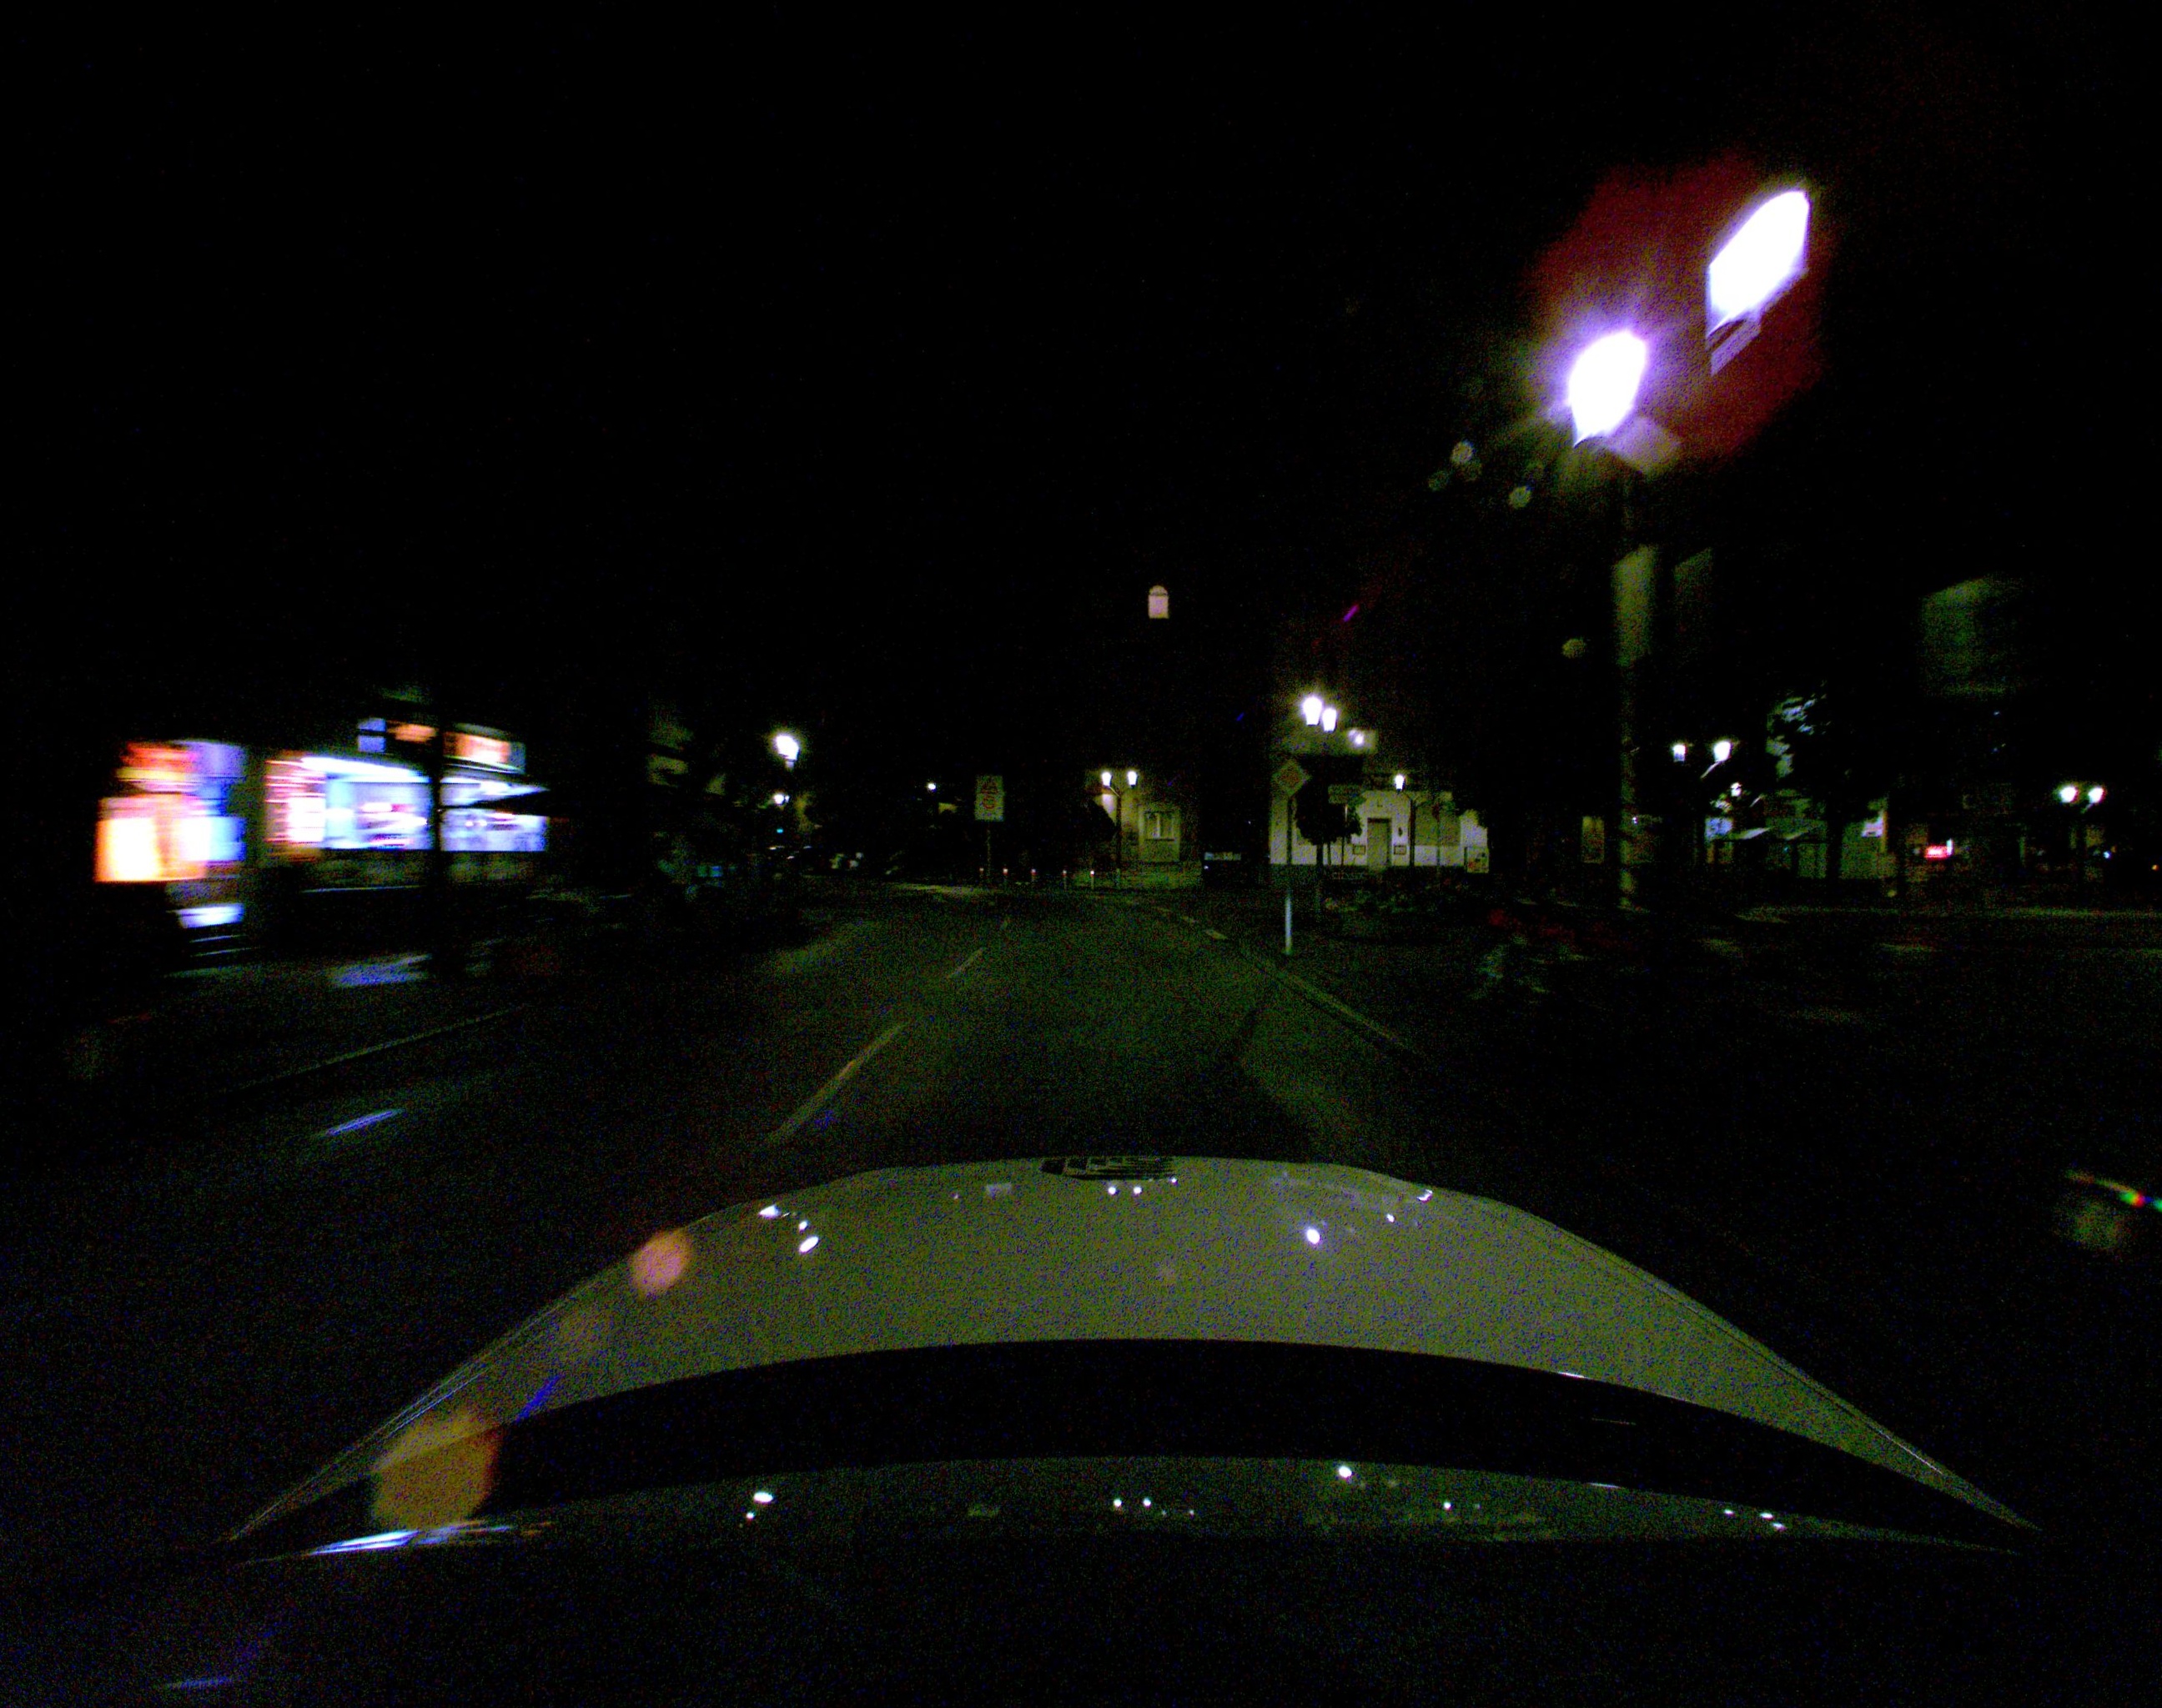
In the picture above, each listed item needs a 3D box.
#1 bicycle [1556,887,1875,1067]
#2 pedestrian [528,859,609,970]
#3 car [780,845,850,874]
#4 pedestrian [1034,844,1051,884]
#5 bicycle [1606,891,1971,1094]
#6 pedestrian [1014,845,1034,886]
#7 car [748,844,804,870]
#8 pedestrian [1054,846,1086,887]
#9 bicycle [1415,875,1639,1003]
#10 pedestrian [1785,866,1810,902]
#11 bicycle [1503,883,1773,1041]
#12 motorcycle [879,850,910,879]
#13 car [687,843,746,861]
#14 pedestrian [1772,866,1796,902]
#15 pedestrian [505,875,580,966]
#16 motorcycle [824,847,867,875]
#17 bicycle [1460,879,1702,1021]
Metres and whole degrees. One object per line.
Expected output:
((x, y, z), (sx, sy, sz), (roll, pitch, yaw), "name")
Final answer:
((4.422, 0.831, 5.756), (1.764, 1.151, 0.583), (1, 0, 3), "bicycle")
((-6.557, 0.758, 10.438), (0.675, 1.378, 0.575), (1, 0, -6), "pedestrian")
((-14.658, 0.268, 44.729), (4.411, 1.501, 1.748), (1, 0, 44), "car")
((-1.695, 0.439, 35.559), (0.481, 1.709, 0.564), (0, 0, -45), "pedestrian")
((4.400, 0.836, 5.151), (1.764, 1.151, 0.583), (1, 0, 3), "bicycle")
((-2.422, 0.462, 34.458), (0.511, 1.709, 0.696), (0, 0, -45), "pedestrian")
((-18.140, 0.152, 48.334), (1.752, 1.454, 3.952), (0, 1, -43), "car")
((-0.442, 0.506, 32.792), (0.954, 1.631, 0.814), (1, 0, 31), "pedestrian")
((4.287, 0.800, 7.912), (1.778, 1.151, 0.759), (1, 0, -4), "bicycle")
((26.538, 1.107, 30.177), (0.463, 1.299, 0.515), (1, 0, 1), "pedestrian")
((4.345, 0.822, 6.406), (1.768, 1.151, 0.581), (1, 0, -4), "bicycle")
((-8.930, 0.497, 39.134), (0.756, 1.353, 1.950), (1, 1, 10), "motorcycle")
((-29.882, -0.162, 66.881), (1.829, 1.422, 4.051), (-1, -1, 43), "car")
((26.062, 1.099, 30.191), (0.463, 1.299, 0.515), (1, 0, 1), "pedestrian")
((-7.222, 0.872, 10.940), (0.574, 1.164, 0.677), (1, 0, -6), "pedestrian")
((-12.419, 0.359, 42.976), (0.912, 1.406, 2.073), (1, 2, 35), "motorcycle")
((4.315, 0.812, 7.088), (1.768, 1.151, 0.613), (1, 0, -4), "bicycle")
